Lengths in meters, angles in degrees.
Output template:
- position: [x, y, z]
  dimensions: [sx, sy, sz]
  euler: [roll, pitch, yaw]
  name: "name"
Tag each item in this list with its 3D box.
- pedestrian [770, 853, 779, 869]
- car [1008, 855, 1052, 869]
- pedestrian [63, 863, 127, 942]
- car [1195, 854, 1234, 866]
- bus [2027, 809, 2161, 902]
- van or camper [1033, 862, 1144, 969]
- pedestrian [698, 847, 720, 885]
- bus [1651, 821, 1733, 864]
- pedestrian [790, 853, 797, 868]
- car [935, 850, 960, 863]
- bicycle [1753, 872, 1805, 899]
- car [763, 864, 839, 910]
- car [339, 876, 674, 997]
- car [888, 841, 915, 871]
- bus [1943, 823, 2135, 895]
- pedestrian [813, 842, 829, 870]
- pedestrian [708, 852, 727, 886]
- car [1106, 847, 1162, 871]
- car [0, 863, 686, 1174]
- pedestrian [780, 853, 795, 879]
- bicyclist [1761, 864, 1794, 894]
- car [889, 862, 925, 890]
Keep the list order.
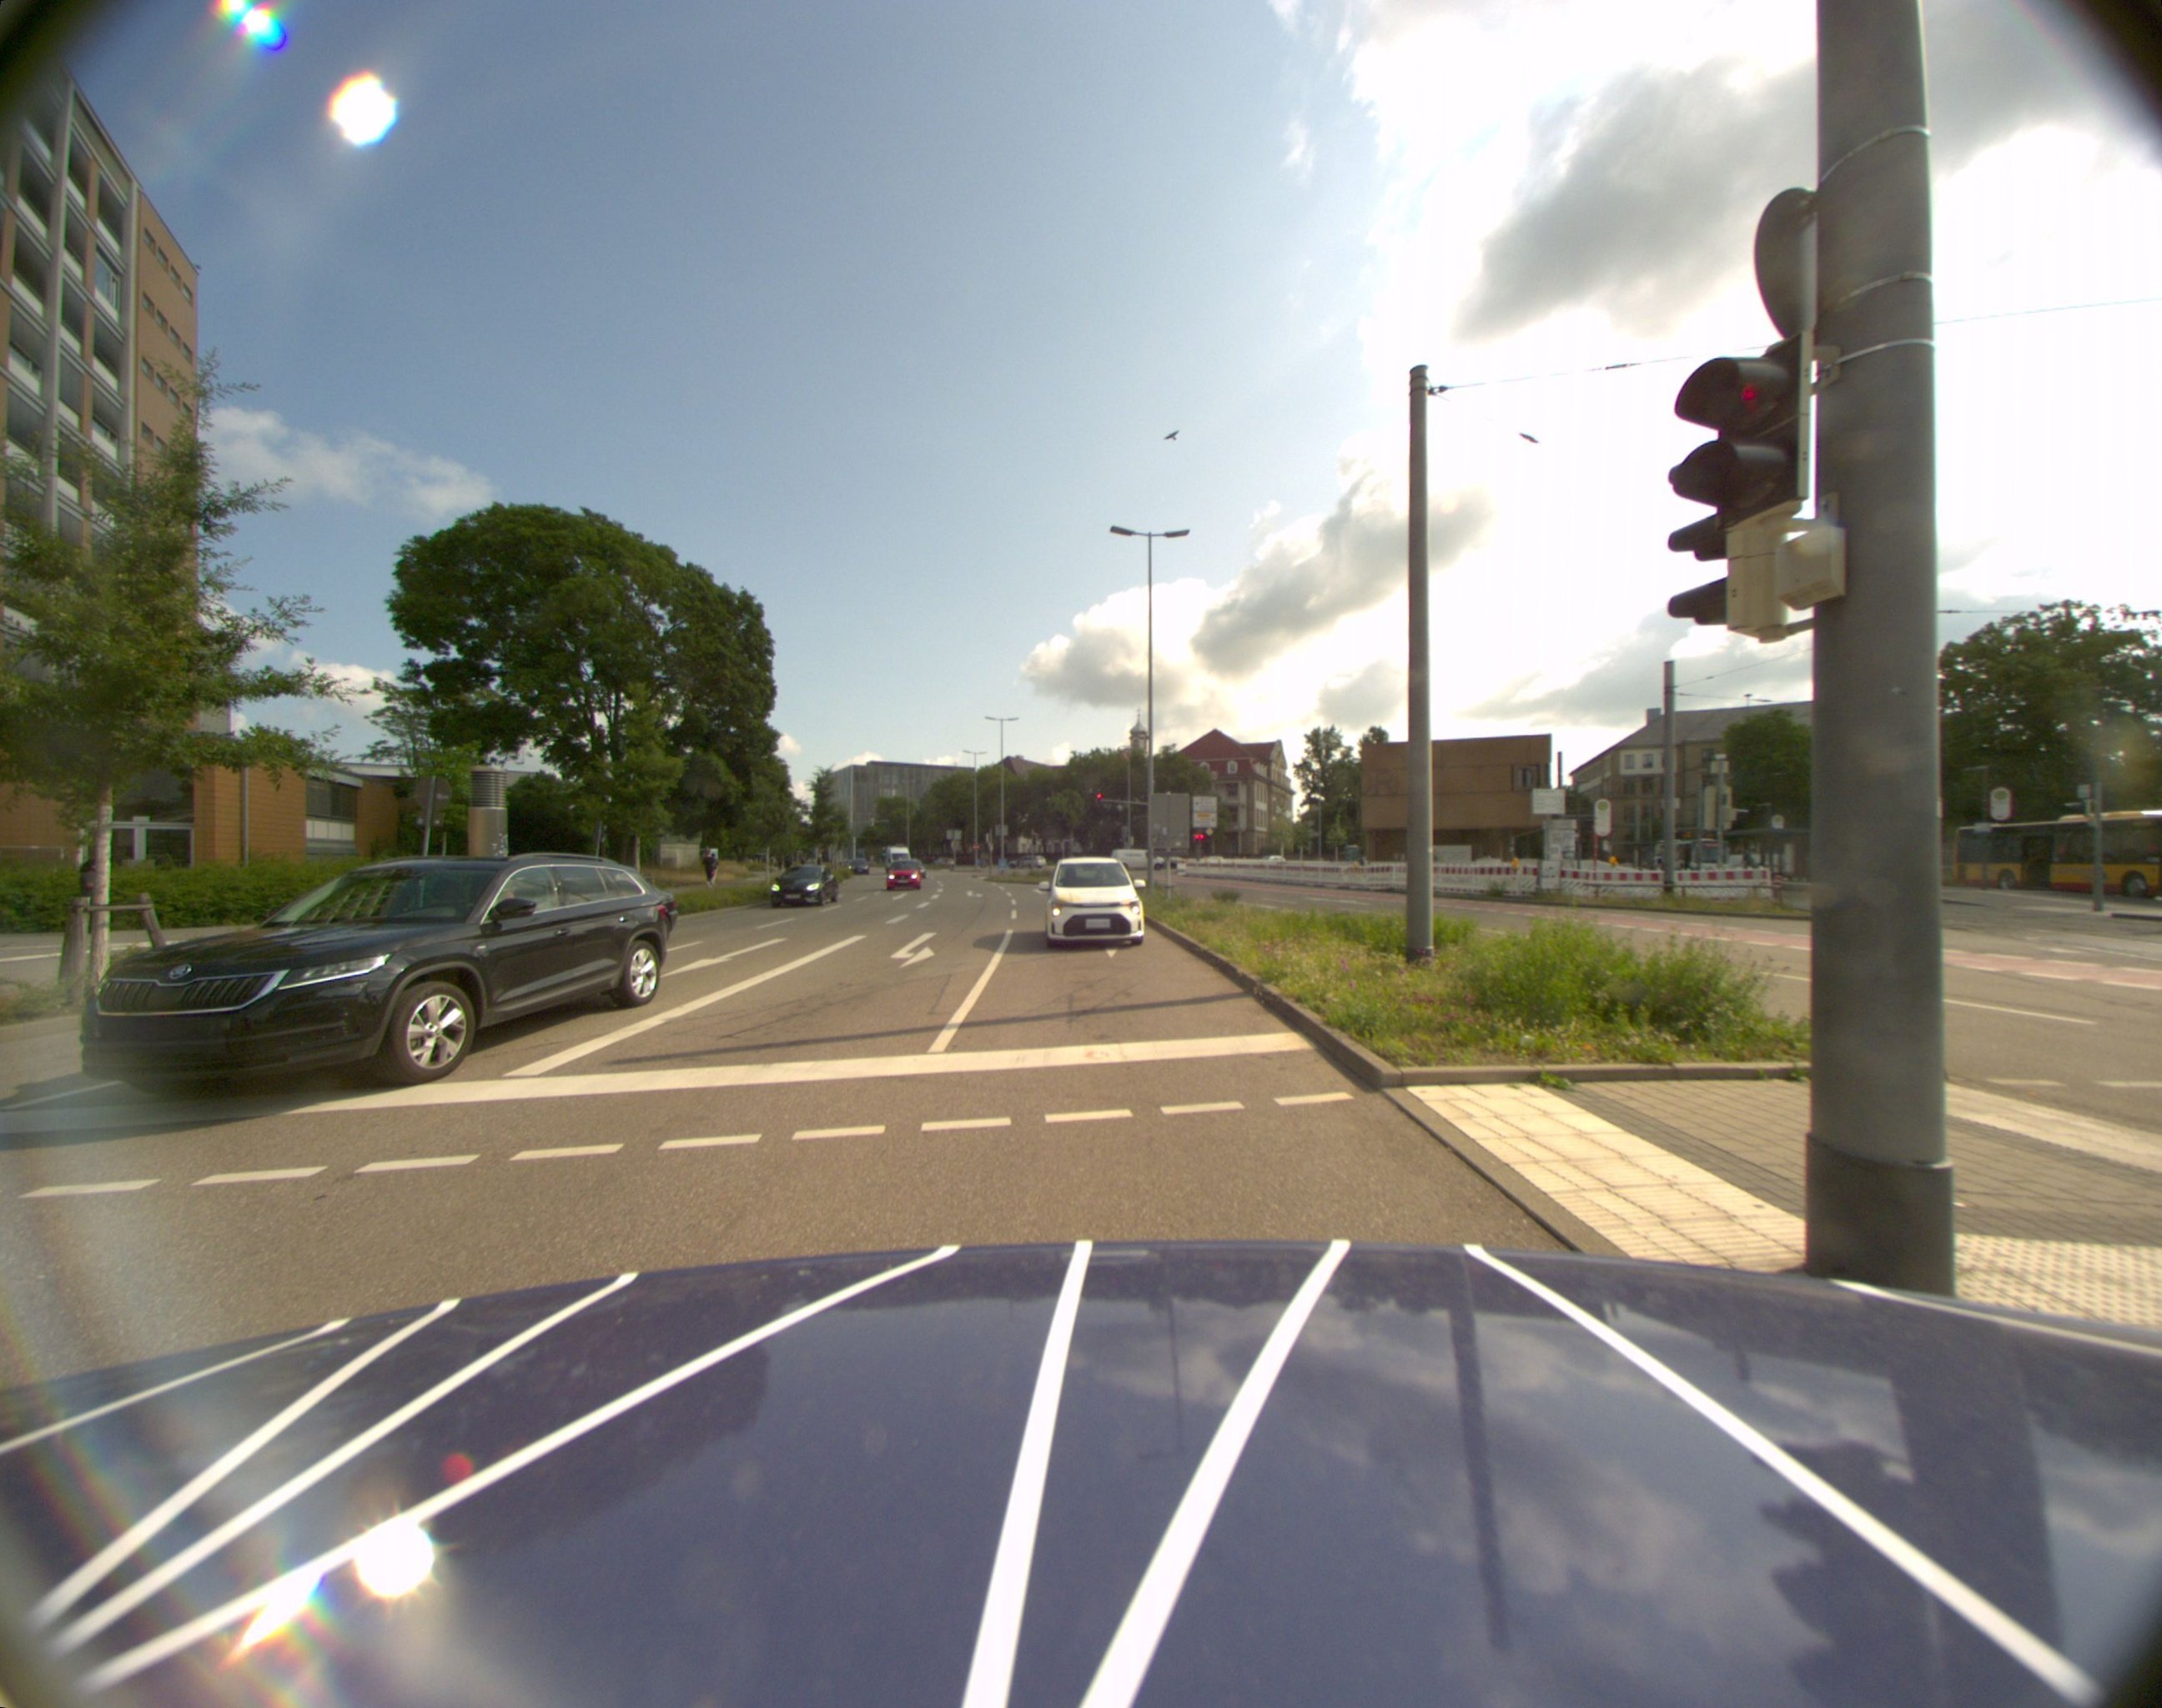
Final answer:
- position: [-39.334, 0.892, 97.541]
  dimensions: [0.988, 2.002, 1.128]
  euler: [0, 0, -19]
  name: "pedestrian"
- position: [-5.976, 0.962, 88.577]
  dimensions: [4.769, 1.559, 2.004]
  euler: [-1, 0, 32]
  name: "car"
- position: [-19.442, 0.947, 14.985]
  dimensions: [0.479, 1.512, 0.581]
  euler: [0, 1, 5]
  name: "pedestrian"
- position: [14.837, 0.649, 84.295]
  dimensions: [4.137, 1.382, 1.755]
  euler: [0, 0, -32]
  name: "car"
- position: [34.931, 0.048, 24.491]
  dimensions: [2.693, 2.817, 7.113]
  euler: [0, 0, 25]
  name: "bus"
- position: [0.093, 0.920, 13.100]
  dimensions: [1.627, 1.467, 3.999]
  euler: [0, 1, 0]
  name: "van or camper"
- position: [-18.483, 0.610, 37.799]
  dimensions: [0.760, 1.860, 0.645]
  euler: [1, 1, -2]
  name: "pedestrian"
- position: [55.364, -1.069, 69.281]
  dimensions: [2.958, 3.487, 12.273]
  euler: [-1, 1, 25]
  name: "bus"
- position: [-40.413, 0.901, 106.804]
  dimensions: [0.988, 2.002, 1.128]
  euler: [0, 0, -19]
  name: "pedestrian"
- position: [-18.298, 0.399, 104.058]
  dimensions: [2.003, 1.674, 4.333]
  euler: [-3, 1, -29]
  name: "car"
- position: [27.080, 1.197, 29.539]
  dimensions: [0.810, 0.986, 2.074]
  euler: [-2, -2, 23]
  name: "bicycle"
- position: [-9.958, 1.136, 27.324]
  dimensions: [1.714, 1.445, 3.997]
  euler: [-1, 0, -8]
  name: "car"
- position: [-8.905, 1.173, 12.436]
  dimensions: [1.998, 1.390, 4.508]
  euler: [-2, 0, 0]
  name: "car"
- position: [-18.040, 0.176, 76.281]
  dimensions: [2.487, 2.862, 6.141]
  euler: [0, 0, -14]
  name: "car"
- position: [37.519, 0.197, 30.045]
  dimensions: [2.695, 2.572, 5.087]
  euler: [0, 0, 25]
  name: "bus"
- position: [-18.812, 0.142, 54.925]
  dimensions: [0.988, 2.002, 1.128]
  euler: [-3, 1, -19]
  name: "pedestrian"
- position: [-19.375, 0.795, 40.468]
  dimensions: [0.672, 1.736, 0.645]
  euler: [2, 1, -2]
  name: "pedestrian"
- position: [5.131, 0.458, 73.501]
  dimensions: [5.073, 2.002, 1.998]
  euler: [-3, 1, -7]
  name: "car"
- position: [-5.605, 0.944, 6.577]
  dimensions: [1.999, 1.658, 4.683]
  euler: [-1, 0, -2]
  name: "car"
- position: [-23.514, 0.957, 60.902]
  dimensions: [0.988, 2.002, 1.128]
  euler: [-3, 1, -19]
  name: "pedestrian"
- position: [27.083, 0.970, 29.566]
  dimensions: [0.695, 1.145, 0.740]
  euler: [-2, -1, 23]
  name: "bicyclist"
- position: [-9.006, 1.121, 39.554]
  dimensions: [1.610, 1.207, 3.007]
  euler: [-3, 2, -10]
  name: "car"
